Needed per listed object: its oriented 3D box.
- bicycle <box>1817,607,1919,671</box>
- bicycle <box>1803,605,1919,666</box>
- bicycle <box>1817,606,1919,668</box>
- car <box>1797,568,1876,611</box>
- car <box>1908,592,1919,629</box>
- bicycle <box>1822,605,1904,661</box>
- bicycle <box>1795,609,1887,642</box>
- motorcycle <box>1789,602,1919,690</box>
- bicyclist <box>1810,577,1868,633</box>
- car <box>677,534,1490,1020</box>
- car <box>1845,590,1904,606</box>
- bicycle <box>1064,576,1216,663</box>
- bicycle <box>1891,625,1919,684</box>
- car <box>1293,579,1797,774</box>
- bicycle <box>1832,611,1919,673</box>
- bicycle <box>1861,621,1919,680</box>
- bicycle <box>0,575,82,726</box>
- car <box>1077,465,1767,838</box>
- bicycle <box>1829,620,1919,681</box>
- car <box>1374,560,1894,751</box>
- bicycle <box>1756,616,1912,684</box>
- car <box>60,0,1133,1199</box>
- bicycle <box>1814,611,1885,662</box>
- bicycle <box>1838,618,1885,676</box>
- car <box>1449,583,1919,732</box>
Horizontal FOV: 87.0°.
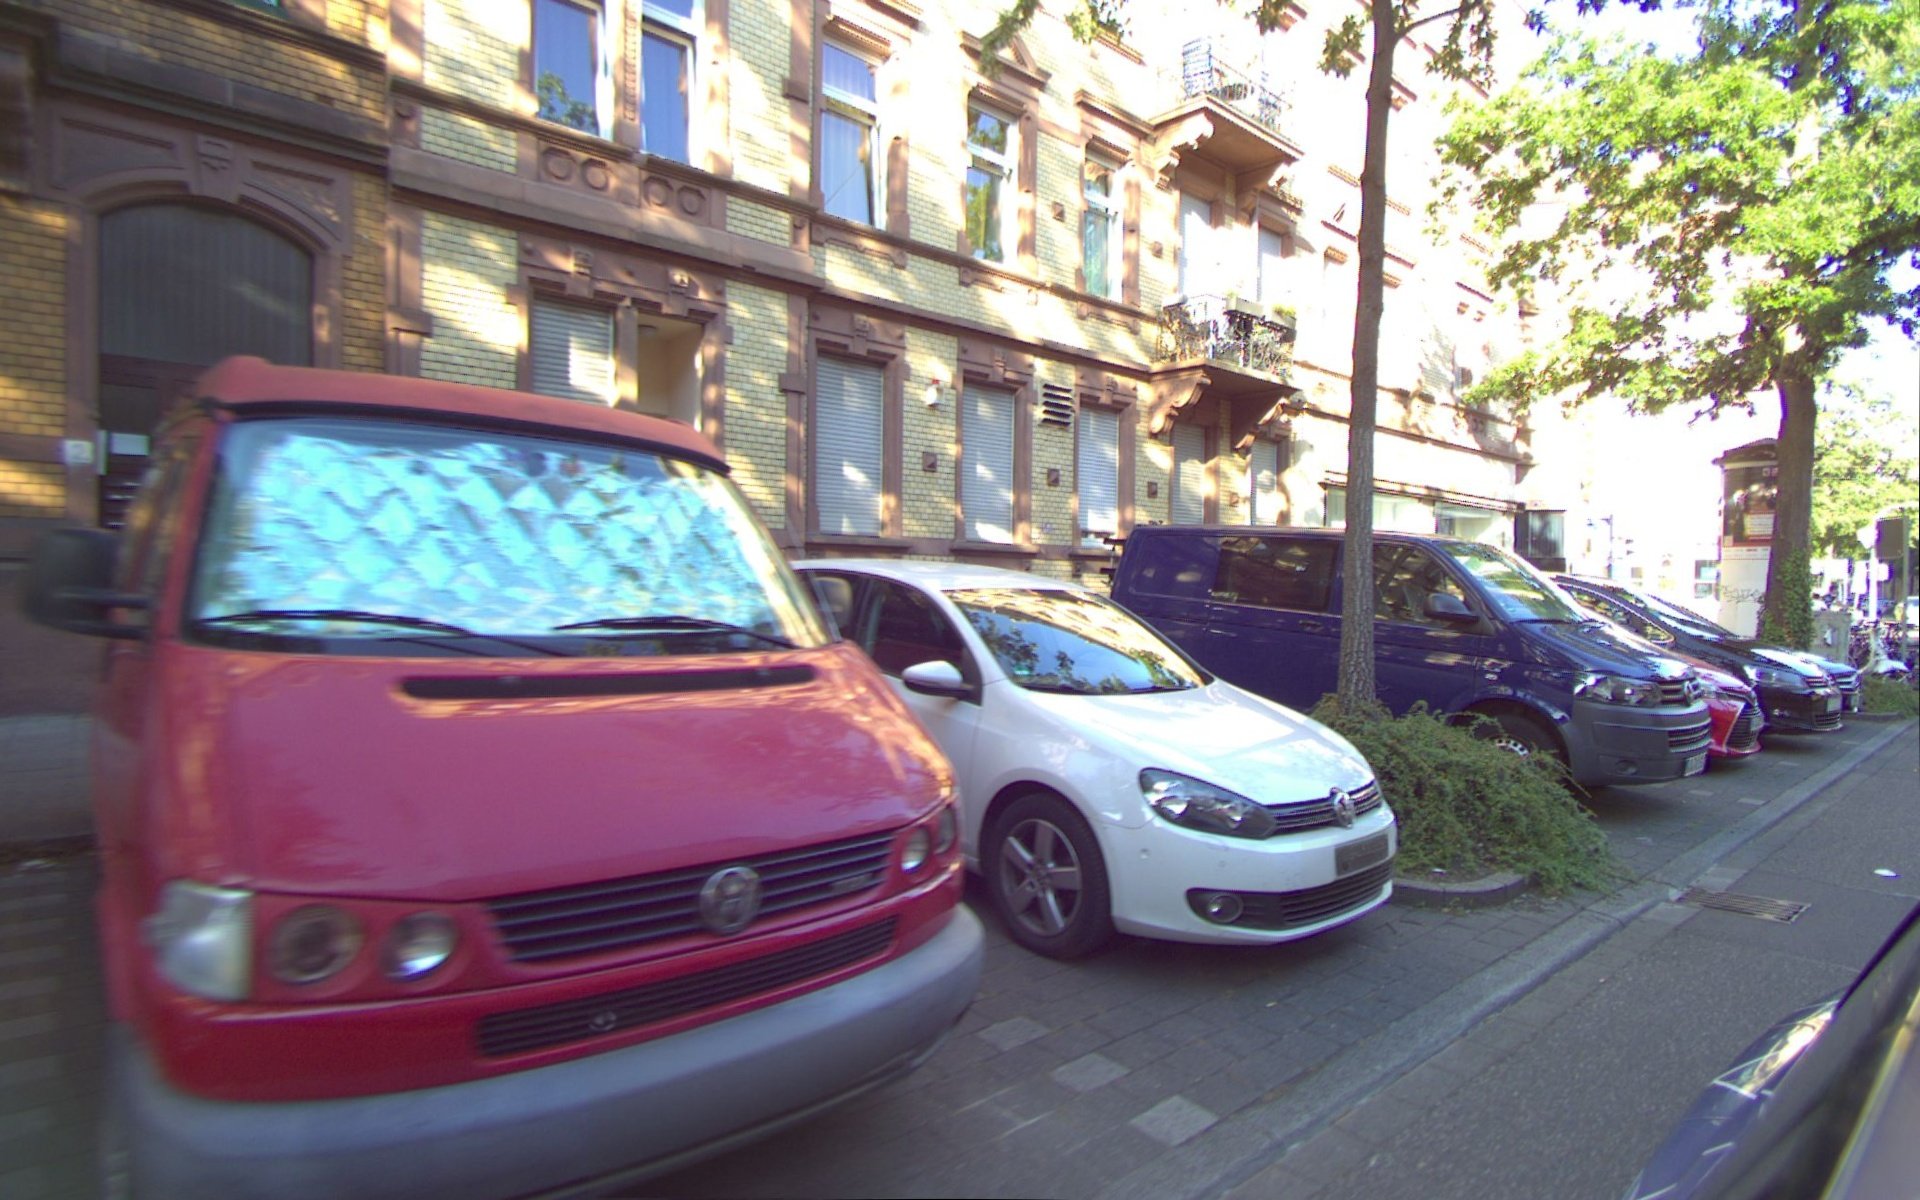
[{"bbox_3d":[17.827,0.754,19.547,1.907,1.107,0.423,3,3,13],"label":"bicycle"},{"bbox_3d":[18.419,0.720,20.601,1.906,1.107,0.424,3,3,11],"label":"bicycle"},{"bbox_3d":[18.330,0.738,20.149,1.906,1.107,0.424,3,3,11],"label":"bicycle"},{"bbox_3d":[68.491,-0.837,79.245,3.300,3.218,7.994,1,1,31],"label":"car"},{"bbox_3d":[47.742,0.488,49.372,1.992,1.772,3.941,1,1,41],"label":"car"},{"bbox_3d":[18.917,0.687,21.215,1.447,1.107,0.426,1,3,-11],"label":"bicycle"},{"bbox_3d":[25.208,0.727,28.993,1.855,0.924,0.630,-1,-1,20],"label":"bicycle"},{"bbox_3d":[14.665,0.723,16.295,0.674,1.249,1.902,0,3,-40],"label":"motorcycle"},{"bbox_3d":[25.179,0.151,29.016,1.067,1.573,0.630,-1,-1,20],"label":"bicyclist"},{"bbox_3d":[0.274,0.462,5.362,1.846,1.528,4.062,0,3,-41],"label":"car"},{"bbox_3d":[96.387,-0.207,106.734,4.270,1.605,1.978,1,1,31],"label":"car"},{"bbox_3d":[2.715,0.260,15.028,2.545,1.185,0.672,0,3,-39],"label":"bicycle"},{"bbox_3d":[16.249,0.915,16.800,1.384,0.938,0.355,1,3,-11],"label":"bicycle"},{"bbox_3d":[5.695,0.584,10.298,1.694,1.554,4.114,0,1,-40],"label":"car"},{"bbox_3d":[17.742,0.798,19.068,1.907,1.064,0.501,3,3,13],"label":"bicycle"},{"bbox_3d":[16.082,0.864,17.480,1.495,0.938,0.355,0,3,-34],"label":"bicycle"},{"bbox_3d":[-6.838,0.329,6.471,1.835,0.974,0.405,0,4,-41],"label":"bicycle"},{"bbox_3d":[3.514,0.257,8.667,1.957,2.242,5.031,0,1,-40],"label":"car"},{"bbox_3d":[17.128,0.934,18.377,1.919,1.000,0.492,4,3,28],"label":"bicycle"},{"bbox_3d":[7.489,0.437,11.847,1.814,1.699,4.708,0,3,-31],"label":"car"},{"bbox_3d":[14.751,0.818,17.140,0.348,0.938,1.934,0,4,-41],"label":"bicycle"},{"bbox_3d":[-1.853,0.214,3.520,1.846,2.058,4.685,0,3,-41],"label":"car"},{"bbox_3d":[19.315,0.777,22.005,0.990,1.039,0.731,1,1,28],"label":"bicycle"},{"bbox_3d":[15.922,0.815,17.863,1.498,0.938,0.354,-1,4,-40],"label":"bicycle"},{"bbox_3d":[9.304,0.582,13.366,1.817,1.430,4.799,0,3,-38],"label":"car"}]
